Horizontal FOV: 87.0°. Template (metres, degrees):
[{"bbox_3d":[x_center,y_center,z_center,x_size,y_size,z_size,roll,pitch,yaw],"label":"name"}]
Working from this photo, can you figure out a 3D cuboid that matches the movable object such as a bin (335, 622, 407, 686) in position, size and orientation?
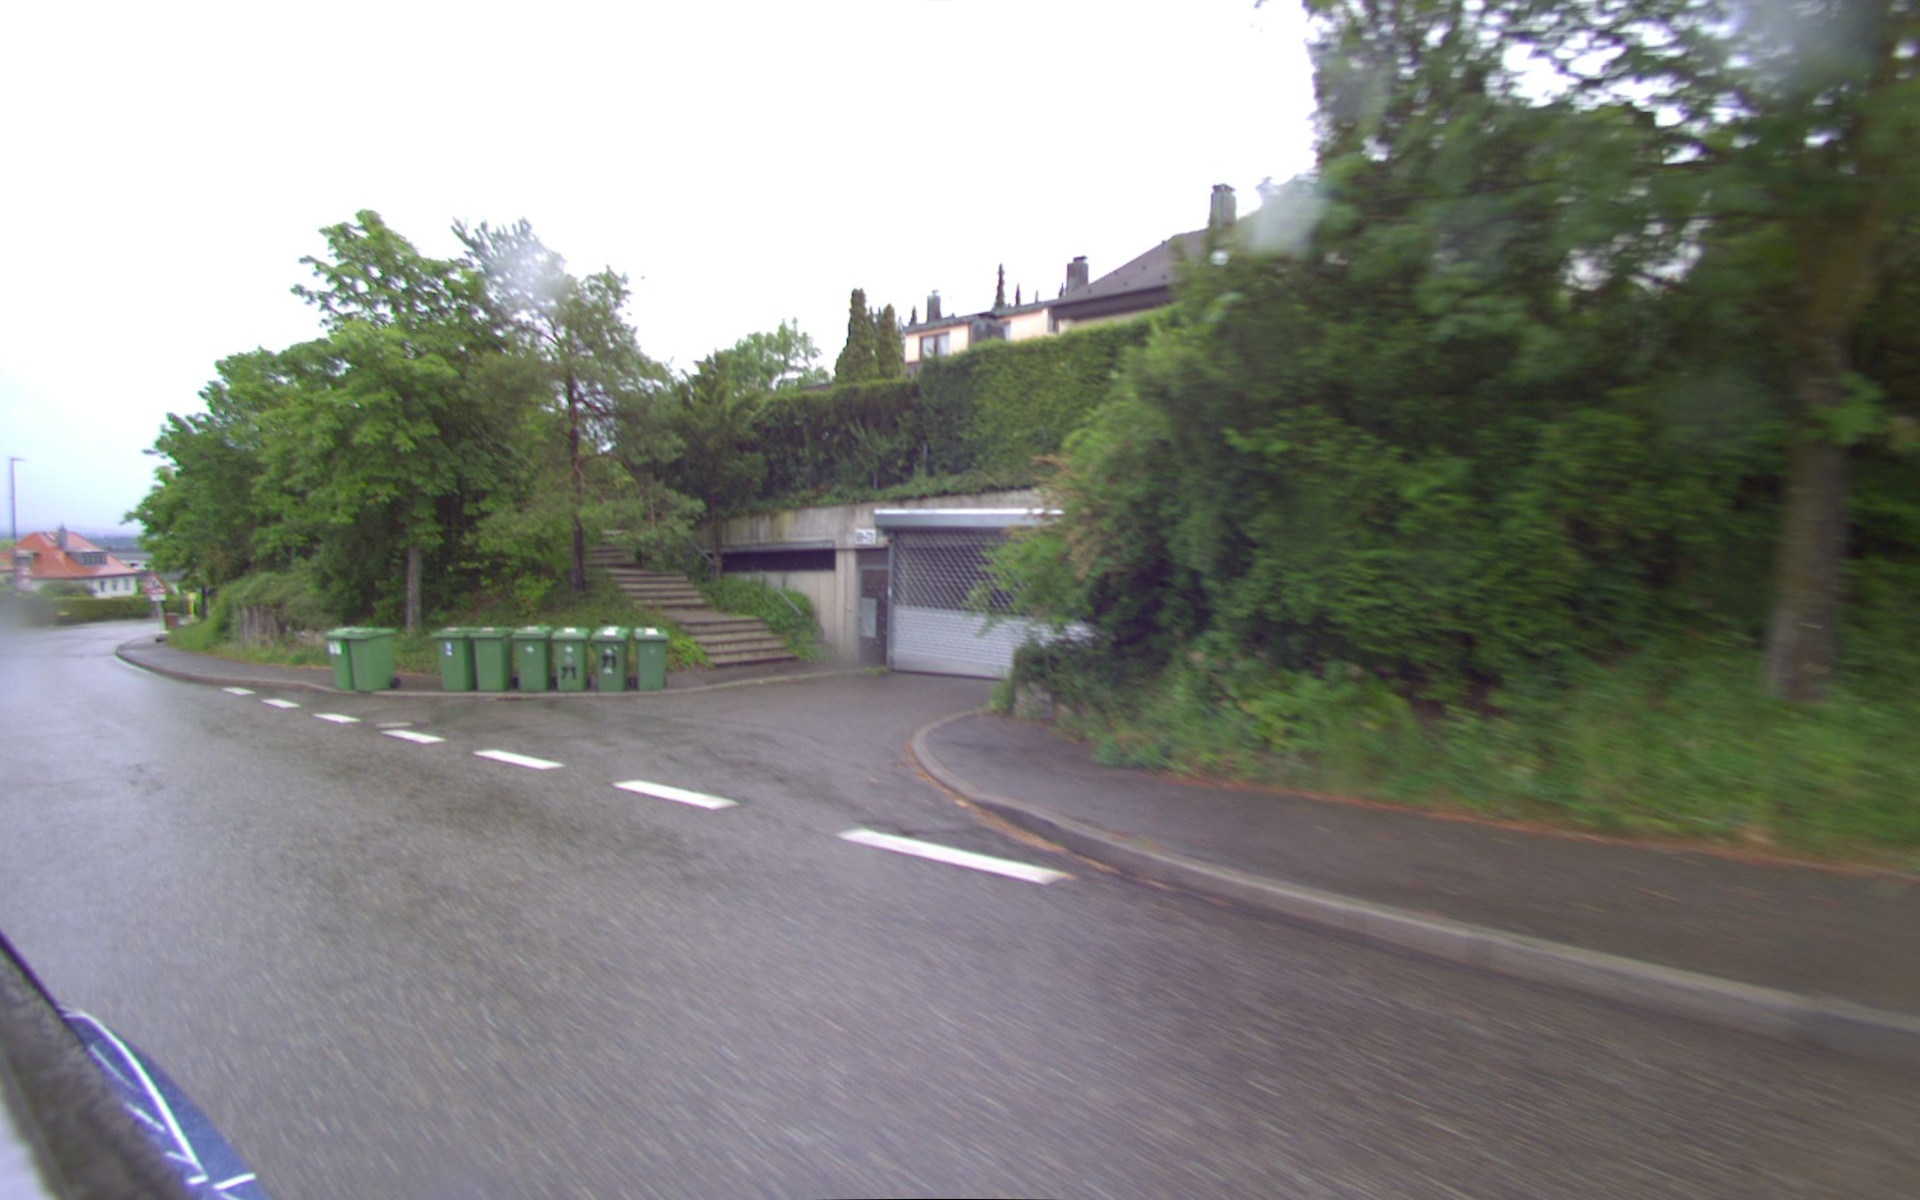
[{"bbox_3d":[-10.225,0.925,17.574,0.714,1.035,0.775,0,2,20],"label":"movable object such as a bin"}]

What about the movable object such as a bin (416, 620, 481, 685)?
[{"bbox_3d":[-8.799,0.886,17.428,0.709,1.035,0.781,-1,2,-3],"label":"movable object such as a bin"}]

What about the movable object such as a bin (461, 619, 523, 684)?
[{"bbox_3d":[-8.063,0.882,17.460,0.709,1.035,0.781,-1,2,-3],"label":"movable object such as a bin"}]

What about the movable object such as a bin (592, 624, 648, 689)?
[{"bbox_3d":[-5.880,0.959,17.532,0.709,1.035,0.781,-1,2,-3],"label":"movable object such as a bin"}]

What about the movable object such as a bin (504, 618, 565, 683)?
[{"bbox_3d":[-7.340,0.862,17.484,0.709,1.035,0.781,-1,2,-3],"label":"movable object such as a bin"}]

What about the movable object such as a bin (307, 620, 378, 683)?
[{"bbox_3d":[-10.898,0.896,17.878,0.714,1.035,0.775,0,2,20],"label":"movable object such as a bin"}]

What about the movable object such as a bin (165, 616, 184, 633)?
[{"bbox_3d":[-47.356,1.471,60.998,0.867,1.038,0.805,0,-1,-36],"label":"movable object such as a bin"}]

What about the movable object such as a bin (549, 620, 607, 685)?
[{"bbox_3d":[-6.603,0.893,17.512,0.709,1.035,0.781,-1,2,-3],"label":"movable object such as a bin"}]
